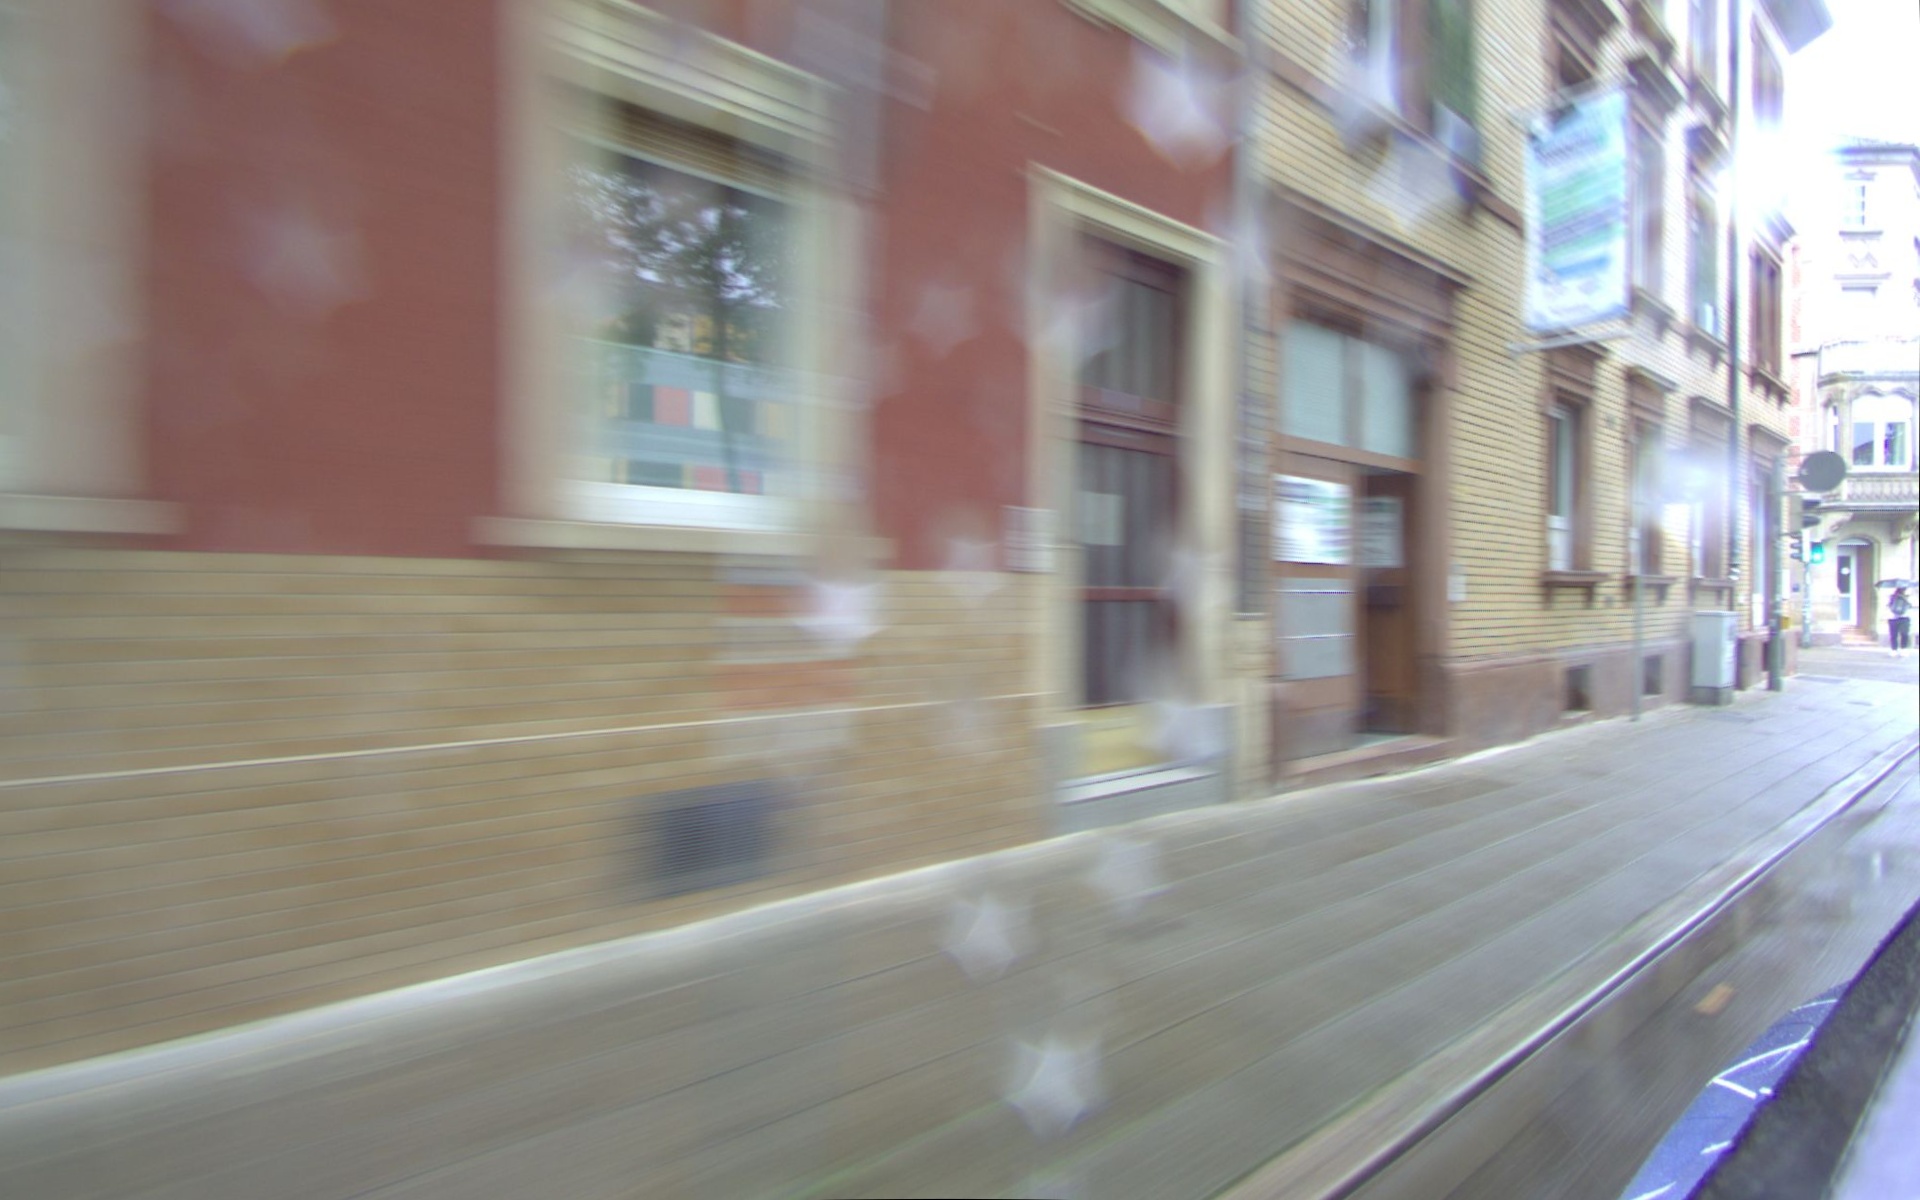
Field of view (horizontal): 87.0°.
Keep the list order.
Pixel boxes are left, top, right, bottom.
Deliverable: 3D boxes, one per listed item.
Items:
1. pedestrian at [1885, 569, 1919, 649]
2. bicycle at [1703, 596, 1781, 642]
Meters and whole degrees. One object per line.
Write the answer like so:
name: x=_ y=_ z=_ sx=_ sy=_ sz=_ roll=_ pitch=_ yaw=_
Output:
pedestrian: x=23.984 y=0.229 z=25.474 sx=0.913 sy=1.936 sz=0.787 roll=0 pitch=5 yaw=-41
bicycle: x=22.024 y=0.511 z=28.521 sx=1.686 sy=1.237 sz=0.668 roll=1 pitch=1 yaw=44
